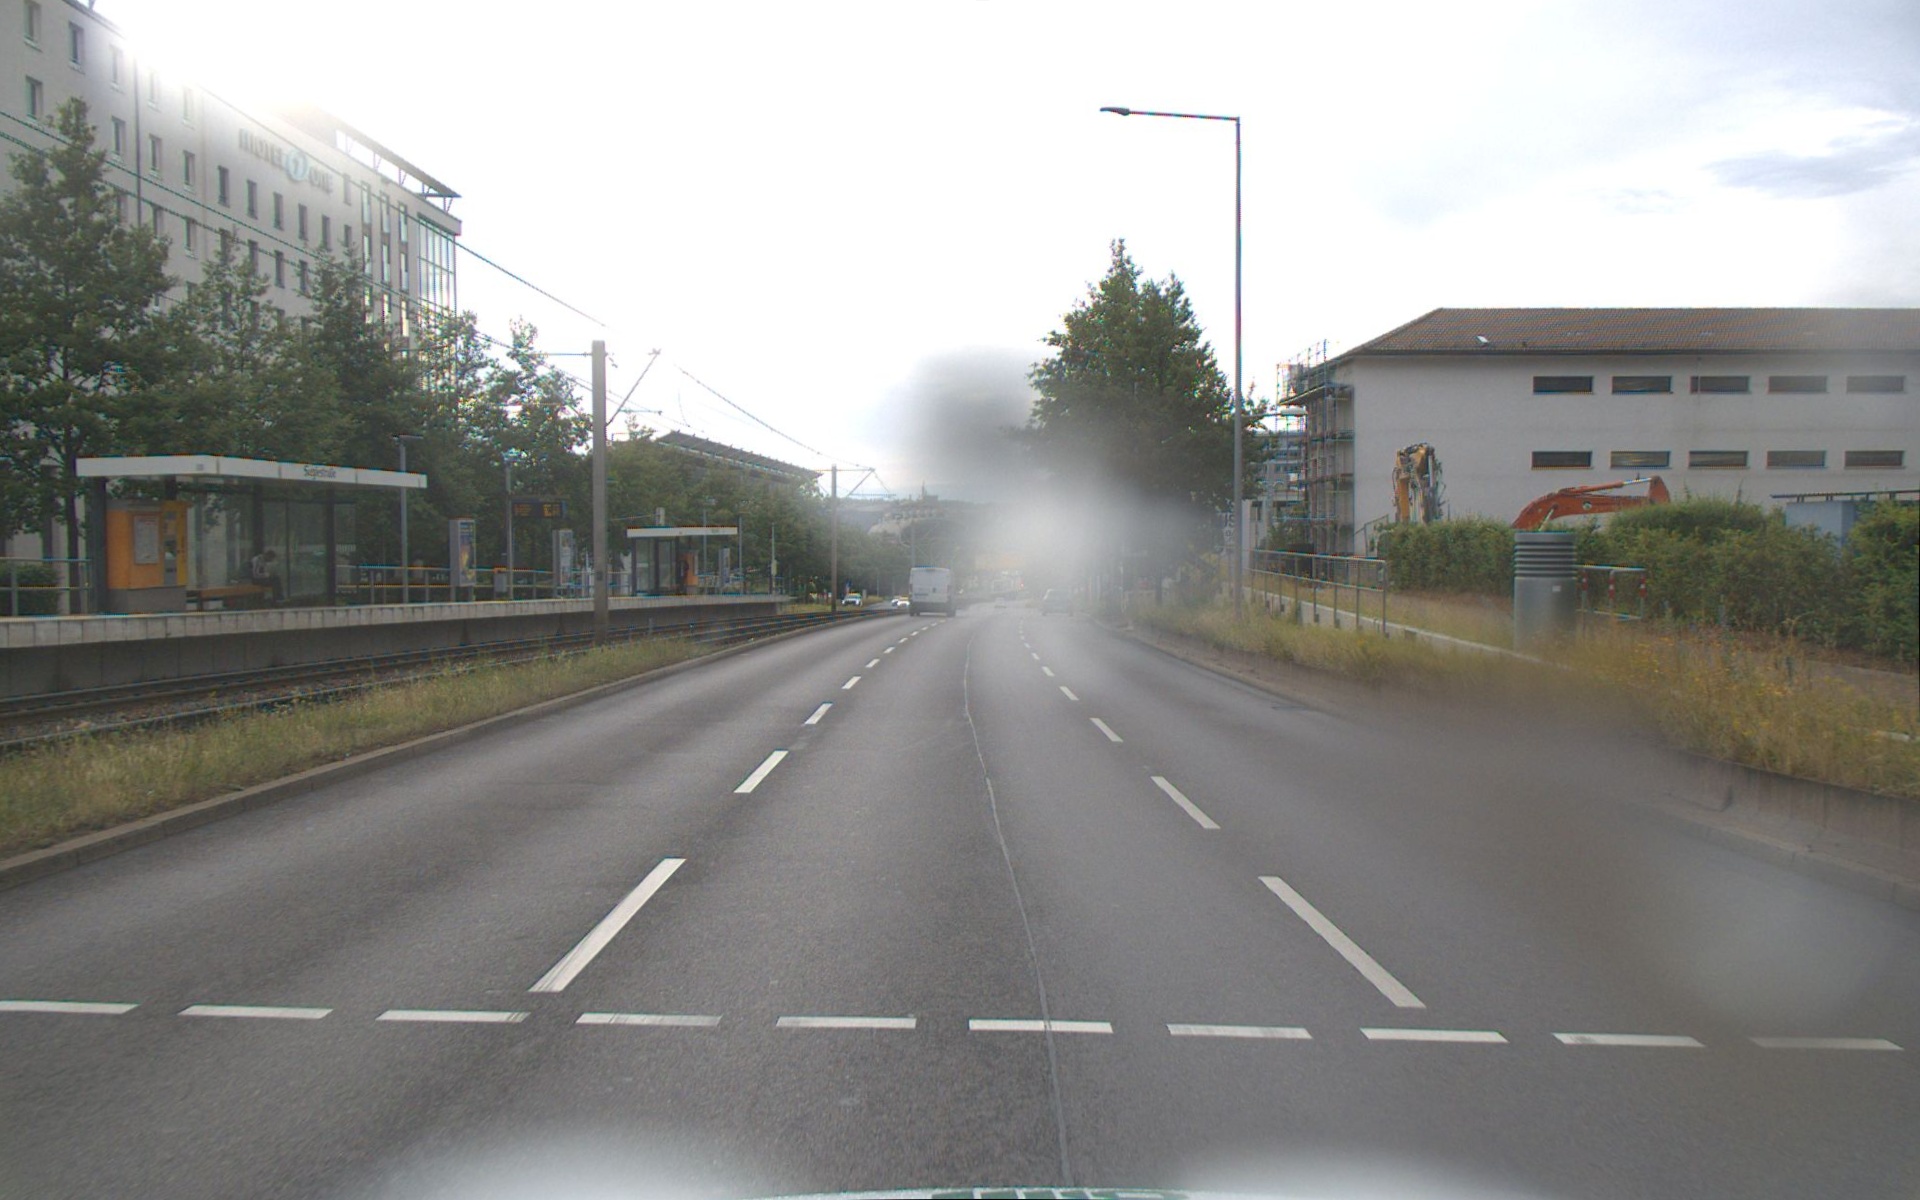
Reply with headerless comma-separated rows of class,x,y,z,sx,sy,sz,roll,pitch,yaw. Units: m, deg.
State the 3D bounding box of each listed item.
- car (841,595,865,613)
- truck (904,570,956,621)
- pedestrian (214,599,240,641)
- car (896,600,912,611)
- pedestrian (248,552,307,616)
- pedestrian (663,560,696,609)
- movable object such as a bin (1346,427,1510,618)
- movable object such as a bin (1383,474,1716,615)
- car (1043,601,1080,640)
car,-11.580,0.388,179.307,1.952,1.879,5.003,-1,0,2
truck,-1.398,-0.185,80.060,2.312,2.301,5.306,2,0,1
pedestrian,-28.840,0.779,65.106,0.587,1.605,0.835,1,-1,2
car,-7.743,0.746,228.313,1.799,1.469,4.430,-2,0,3
pedestrian,-14.257,-0.332,34.561,0.941,1.322,0.684,0,0,0
pedestrian,-12.180,-0.664,71.865,1.241,2.049,1.129,2,-1,-3
movable object such as a bin,15.397,-2.364,55.177,3.222,5.784,8.766,1,0,2
movable object such as a bin,23.368,-2.141,66.069,11.892,5.353,3.789,-1,-1,0
car,5.554,1.112,90.885,1.952,2.049,3.935,1,0,3
